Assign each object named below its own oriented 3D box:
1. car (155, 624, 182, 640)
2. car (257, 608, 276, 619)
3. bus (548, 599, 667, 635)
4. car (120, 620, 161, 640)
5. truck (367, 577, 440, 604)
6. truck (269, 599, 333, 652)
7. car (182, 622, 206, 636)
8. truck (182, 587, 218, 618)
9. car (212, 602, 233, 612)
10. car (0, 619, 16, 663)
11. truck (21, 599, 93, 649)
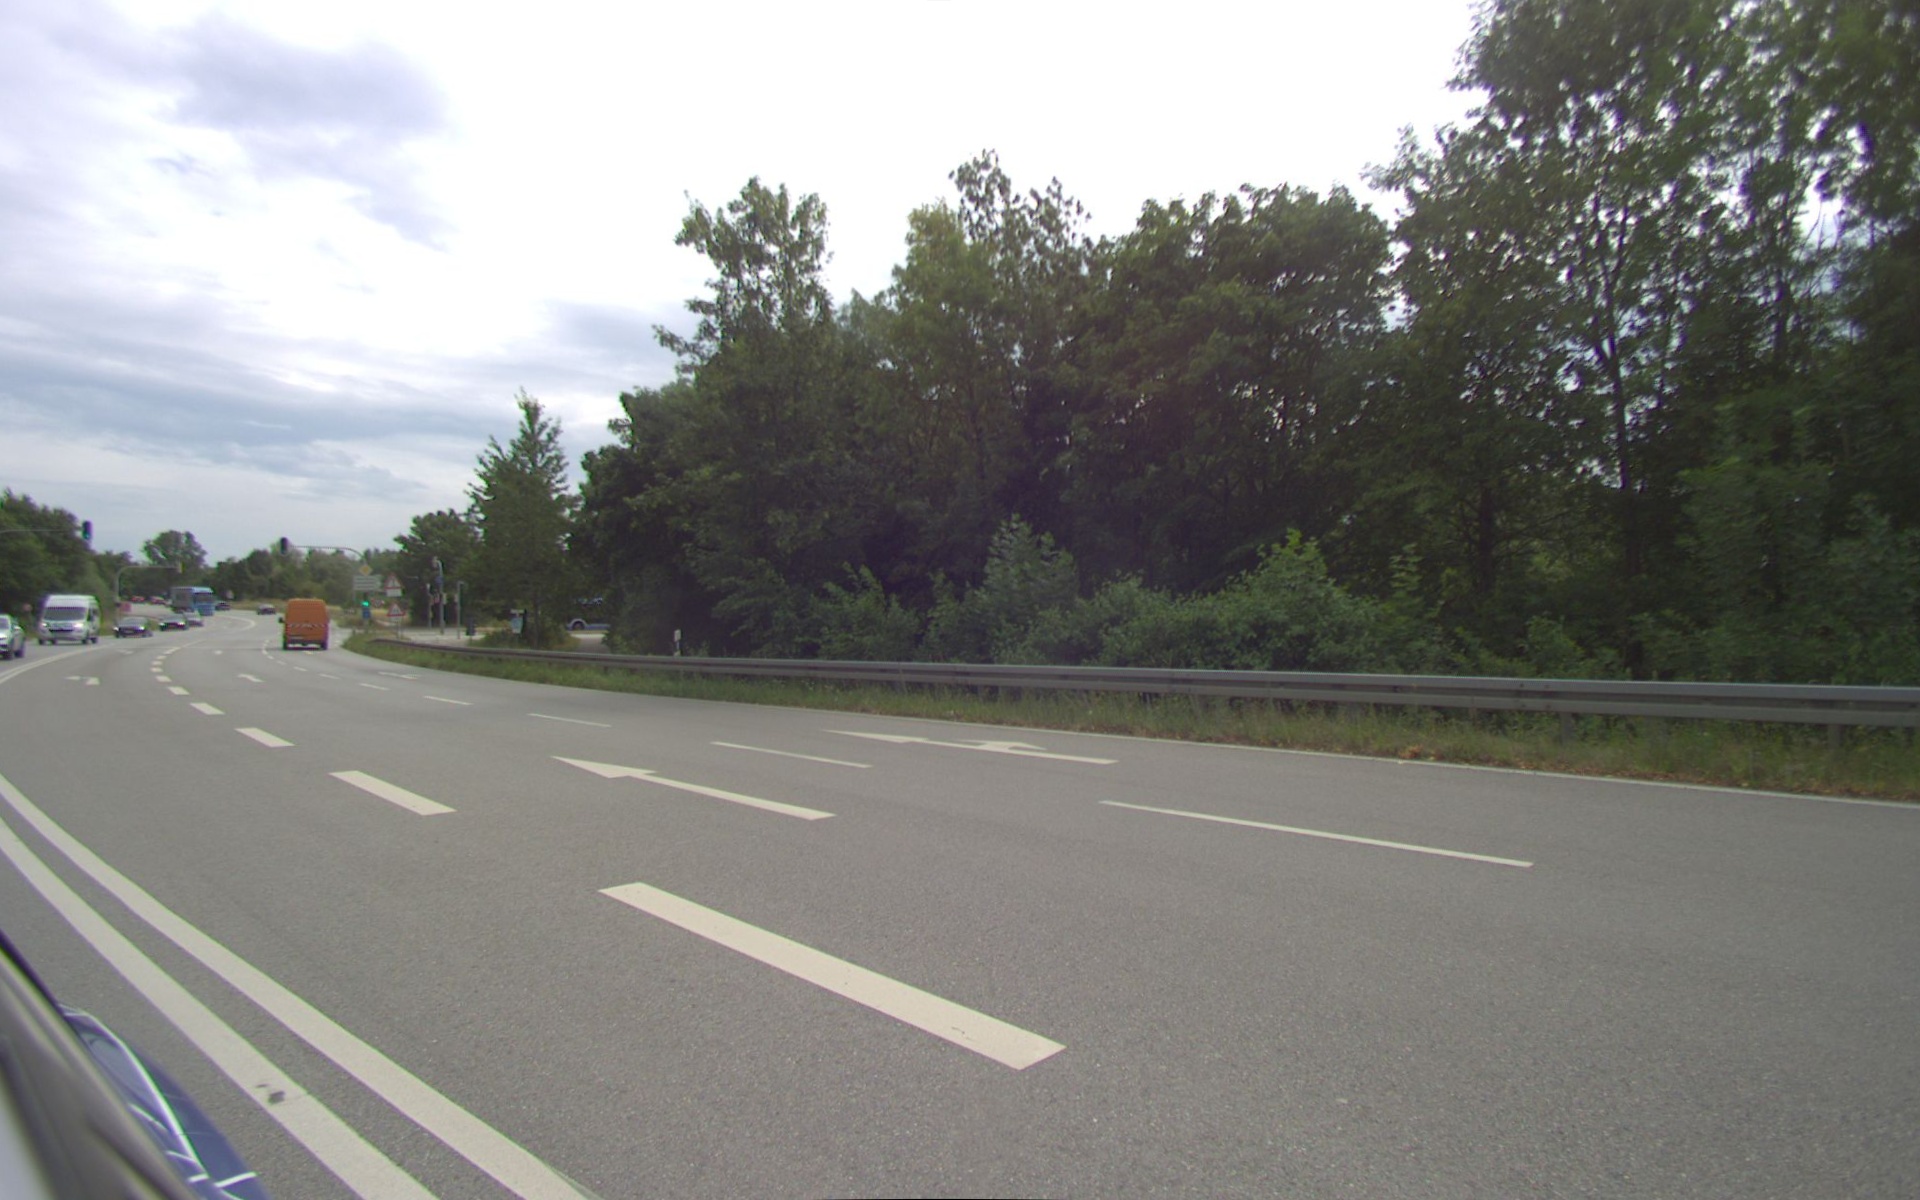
[{"bbox_3d":[-72.233,2.930,92.394,1.716,1.335,4.010,3,-3,-35],"label":"car"},{"bbox_3d":[-100.993,1.963,147.265,1.719,1.497,4.205,1,-1,-42],"label":"car"},{"bbox_3d":[-32.301,1.551,93.151,9.920,3.070,3.125,1,-1,-43],"label":"bus"},{"bbox_3d":[-59.326,2.164,73.340,1.716,1.335,4.011,3,-3,-31],"label":"car"},{"bbox_3d":[-106.370,-1.857,193.405,14.100,4.357,3.342,4,0,19],"label":"truck"},{"bbox_3d":[-35.058,1.357,53.725,2.286,2.621,6.036,3,-2,-37],"label":"truck"},{"bbox_3d":[-78.711,2.941,103.941,1.718,1.335,4.007,4,-3,-39],"label":"car"},{"bbox_3d":[-111.485,0.467,148.321,2.984,4.383,9.578,1,-2,-44],"label":"truck"},{"bbox_3d":[-120.877,1.154,165.841,3.994,1.396,1.724,-1,1,38],"label":"car"},{"bbox_3d":[-35.456,1.440,36.546,1.799,1.509,4.230,3,-3,-41],"label":"car"},{"bbox_3d":[-49.507,1.308,55.582,2.342,2.613,6.012,1,-1,-36],"label":"truck"}]
